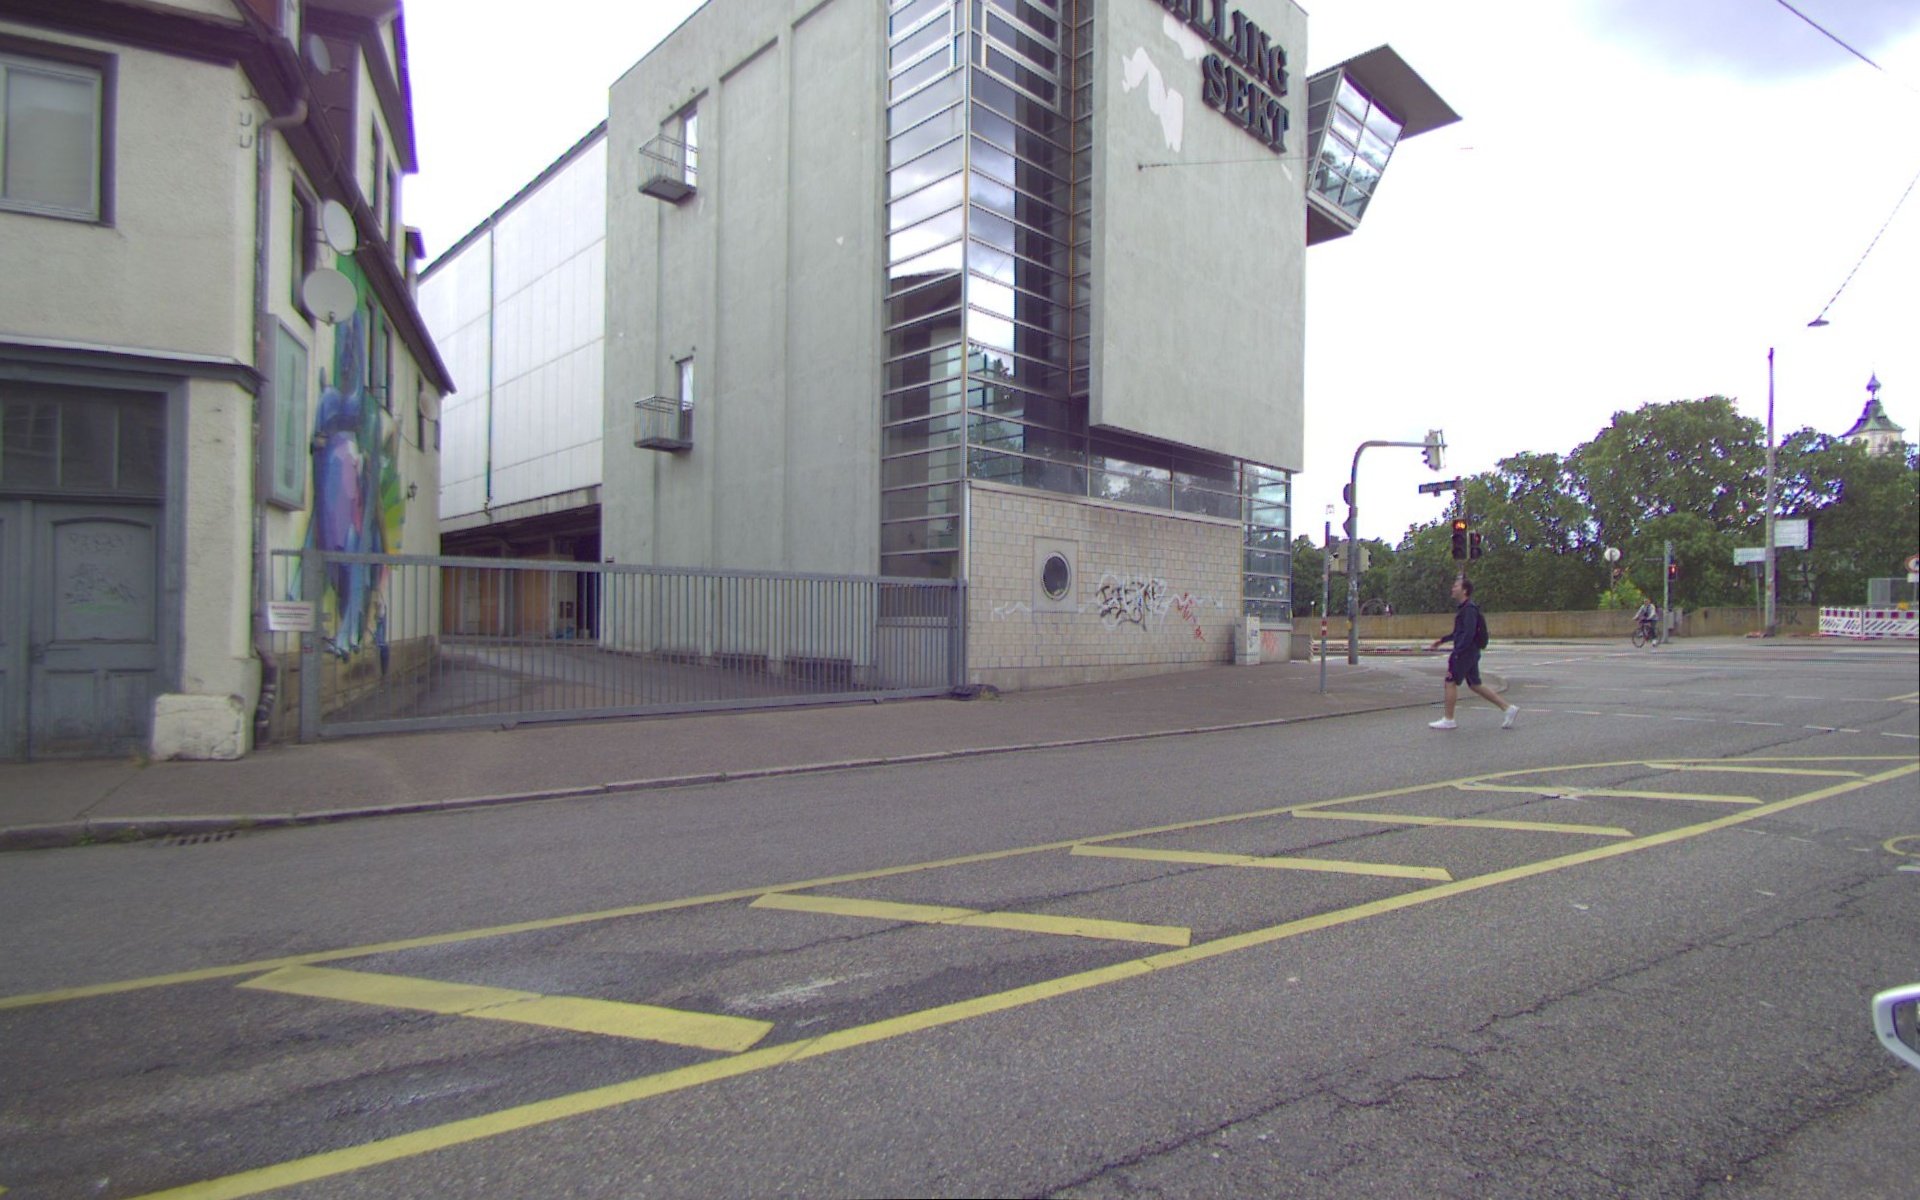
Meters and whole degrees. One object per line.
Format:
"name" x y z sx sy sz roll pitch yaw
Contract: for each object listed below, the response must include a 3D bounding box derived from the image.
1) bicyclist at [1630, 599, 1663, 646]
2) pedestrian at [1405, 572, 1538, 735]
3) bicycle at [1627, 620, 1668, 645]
"bicyclist" 25.380 0.819 37.143 0.801 1.723 0.720 1 -1 -30
"pedestrian" 6.376 0.621 12.543 1.045 1.911 1.083 -1 1 -30
"bicycle" 25.412 1.200 37.142 1.858 0.904 0.538 1 -1 -31
